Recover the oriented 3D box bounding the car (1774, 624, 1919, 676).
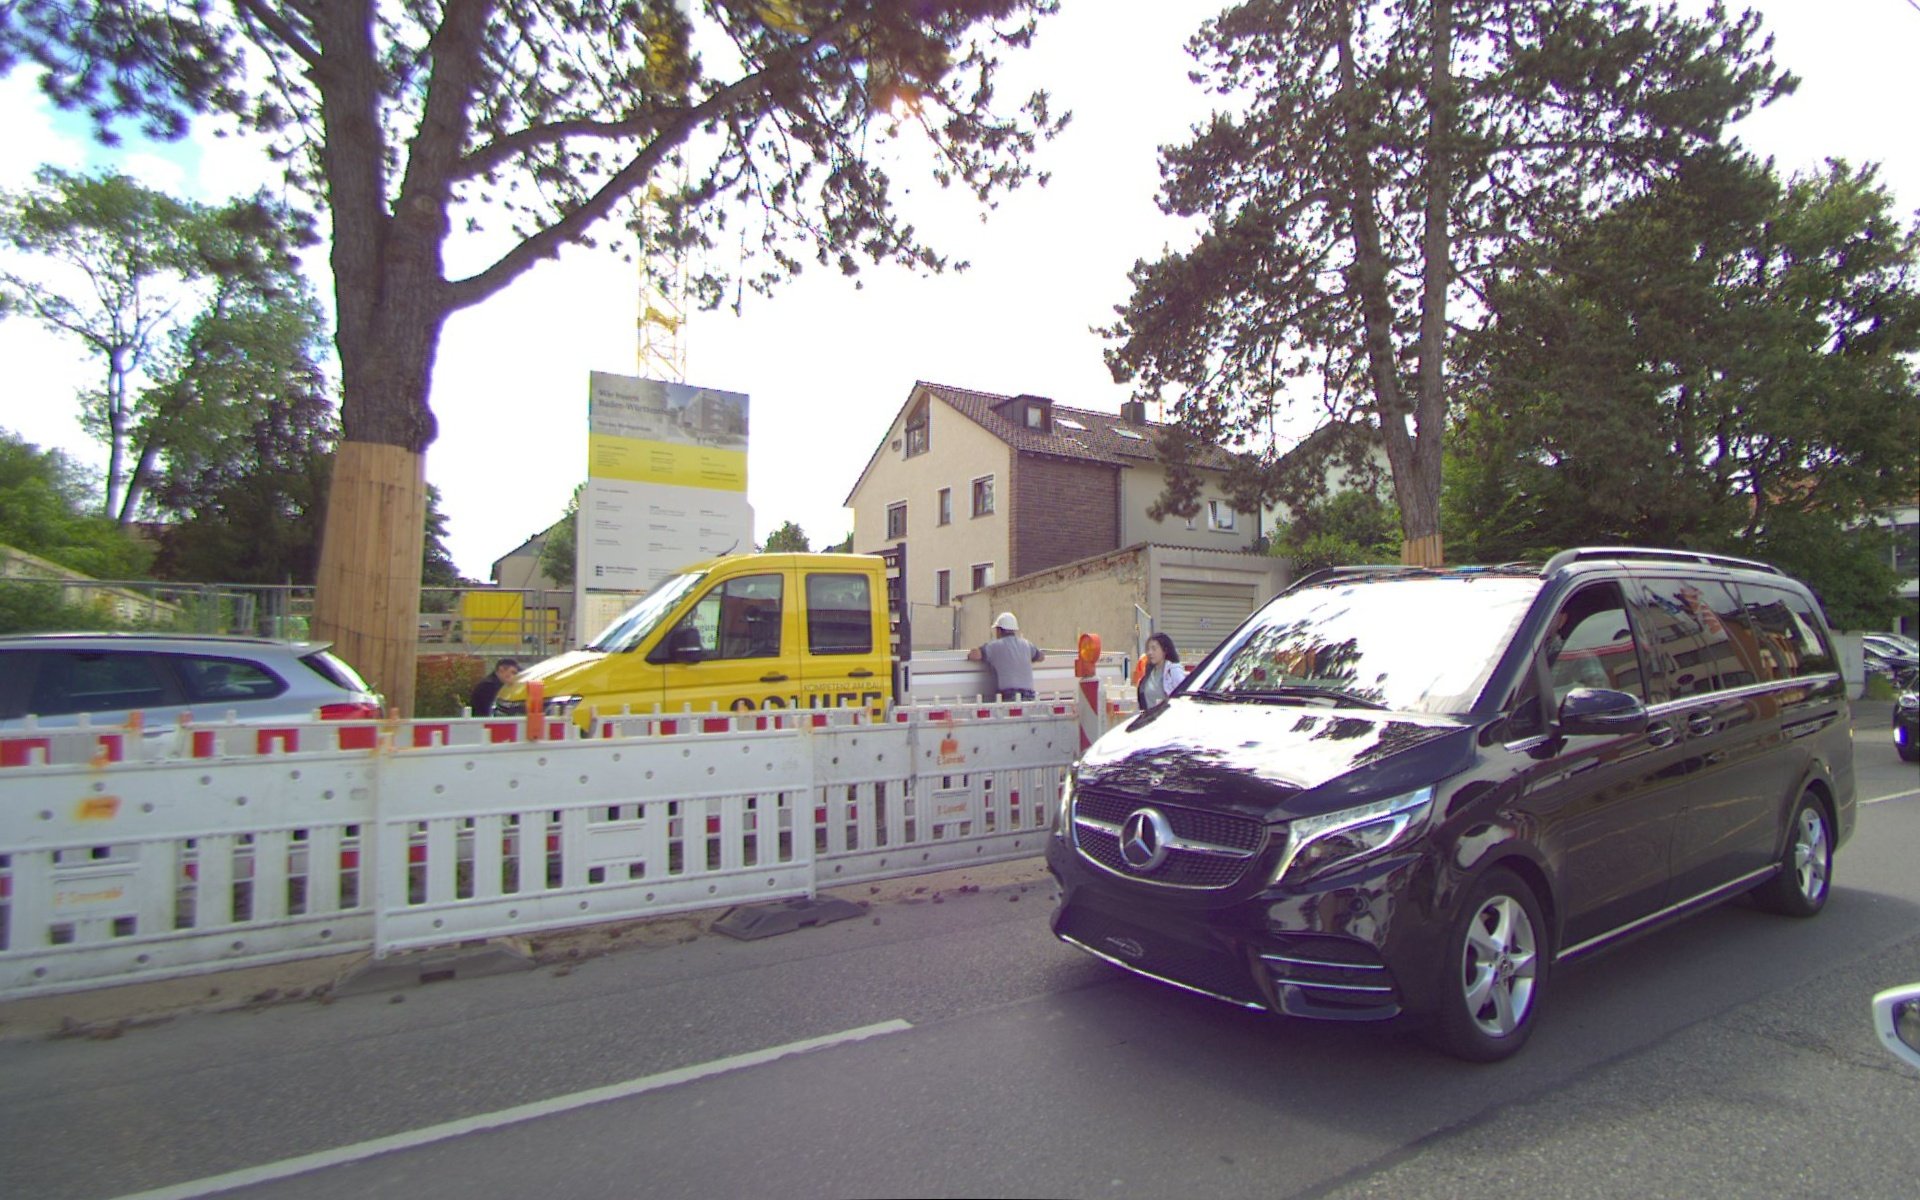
[{"bbox_3d":[29.827,1.635,33.659,1.518,1.581,3.718,1,-1,-32],"label":"car"}]

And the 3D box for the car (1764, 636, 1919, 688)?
[{"bbox_3d":[27.896,1.927,31.576,1.710,1.538,3.719,1,-3,-32],"label":"car"}]

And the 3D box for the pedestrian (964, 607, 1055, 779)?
[{"bbox_3d":[0.474,0.868,9.594,0.649,1.567,0.570,2,-2,-36],"label":"pedestrian"}]

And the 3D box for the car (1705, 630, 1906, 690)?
[{"bbox_3d":[25.348,1.731,30.266,1.881,1.662,4.269,1,-2,-30],"label":"car"}]

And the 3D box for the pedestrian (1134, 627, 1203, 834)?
[{"bbox_3d":[1.725,1.045,8.280,0.526,1.622,0.572,0,-2,13],"label":"pedestrian"}]

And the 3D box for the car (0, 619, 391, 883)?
[{"bbox_3d":[-5.873,0.899,6.598,3.549,1.528,1.612,2,-2,-36],"label":"car"}]

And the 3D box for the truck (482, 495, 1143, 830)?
[{"bbox_3d":[-1.266,0.580,9.894,6.022,2.451,2.295,2,-2,-30],"label":"truck"}]

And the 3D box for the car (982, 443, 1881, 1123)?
[{"bbox_3d":[2.640,0.604,5.106,4.863,1.977,1.897,1,-3,-34],"label":"car"}]

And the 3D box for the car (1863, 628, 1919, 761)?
[{"bbox_3d":[13.216,1.123,12.656,4.485,1.547,1.853,2,-4,-37],"label":"car"}]
